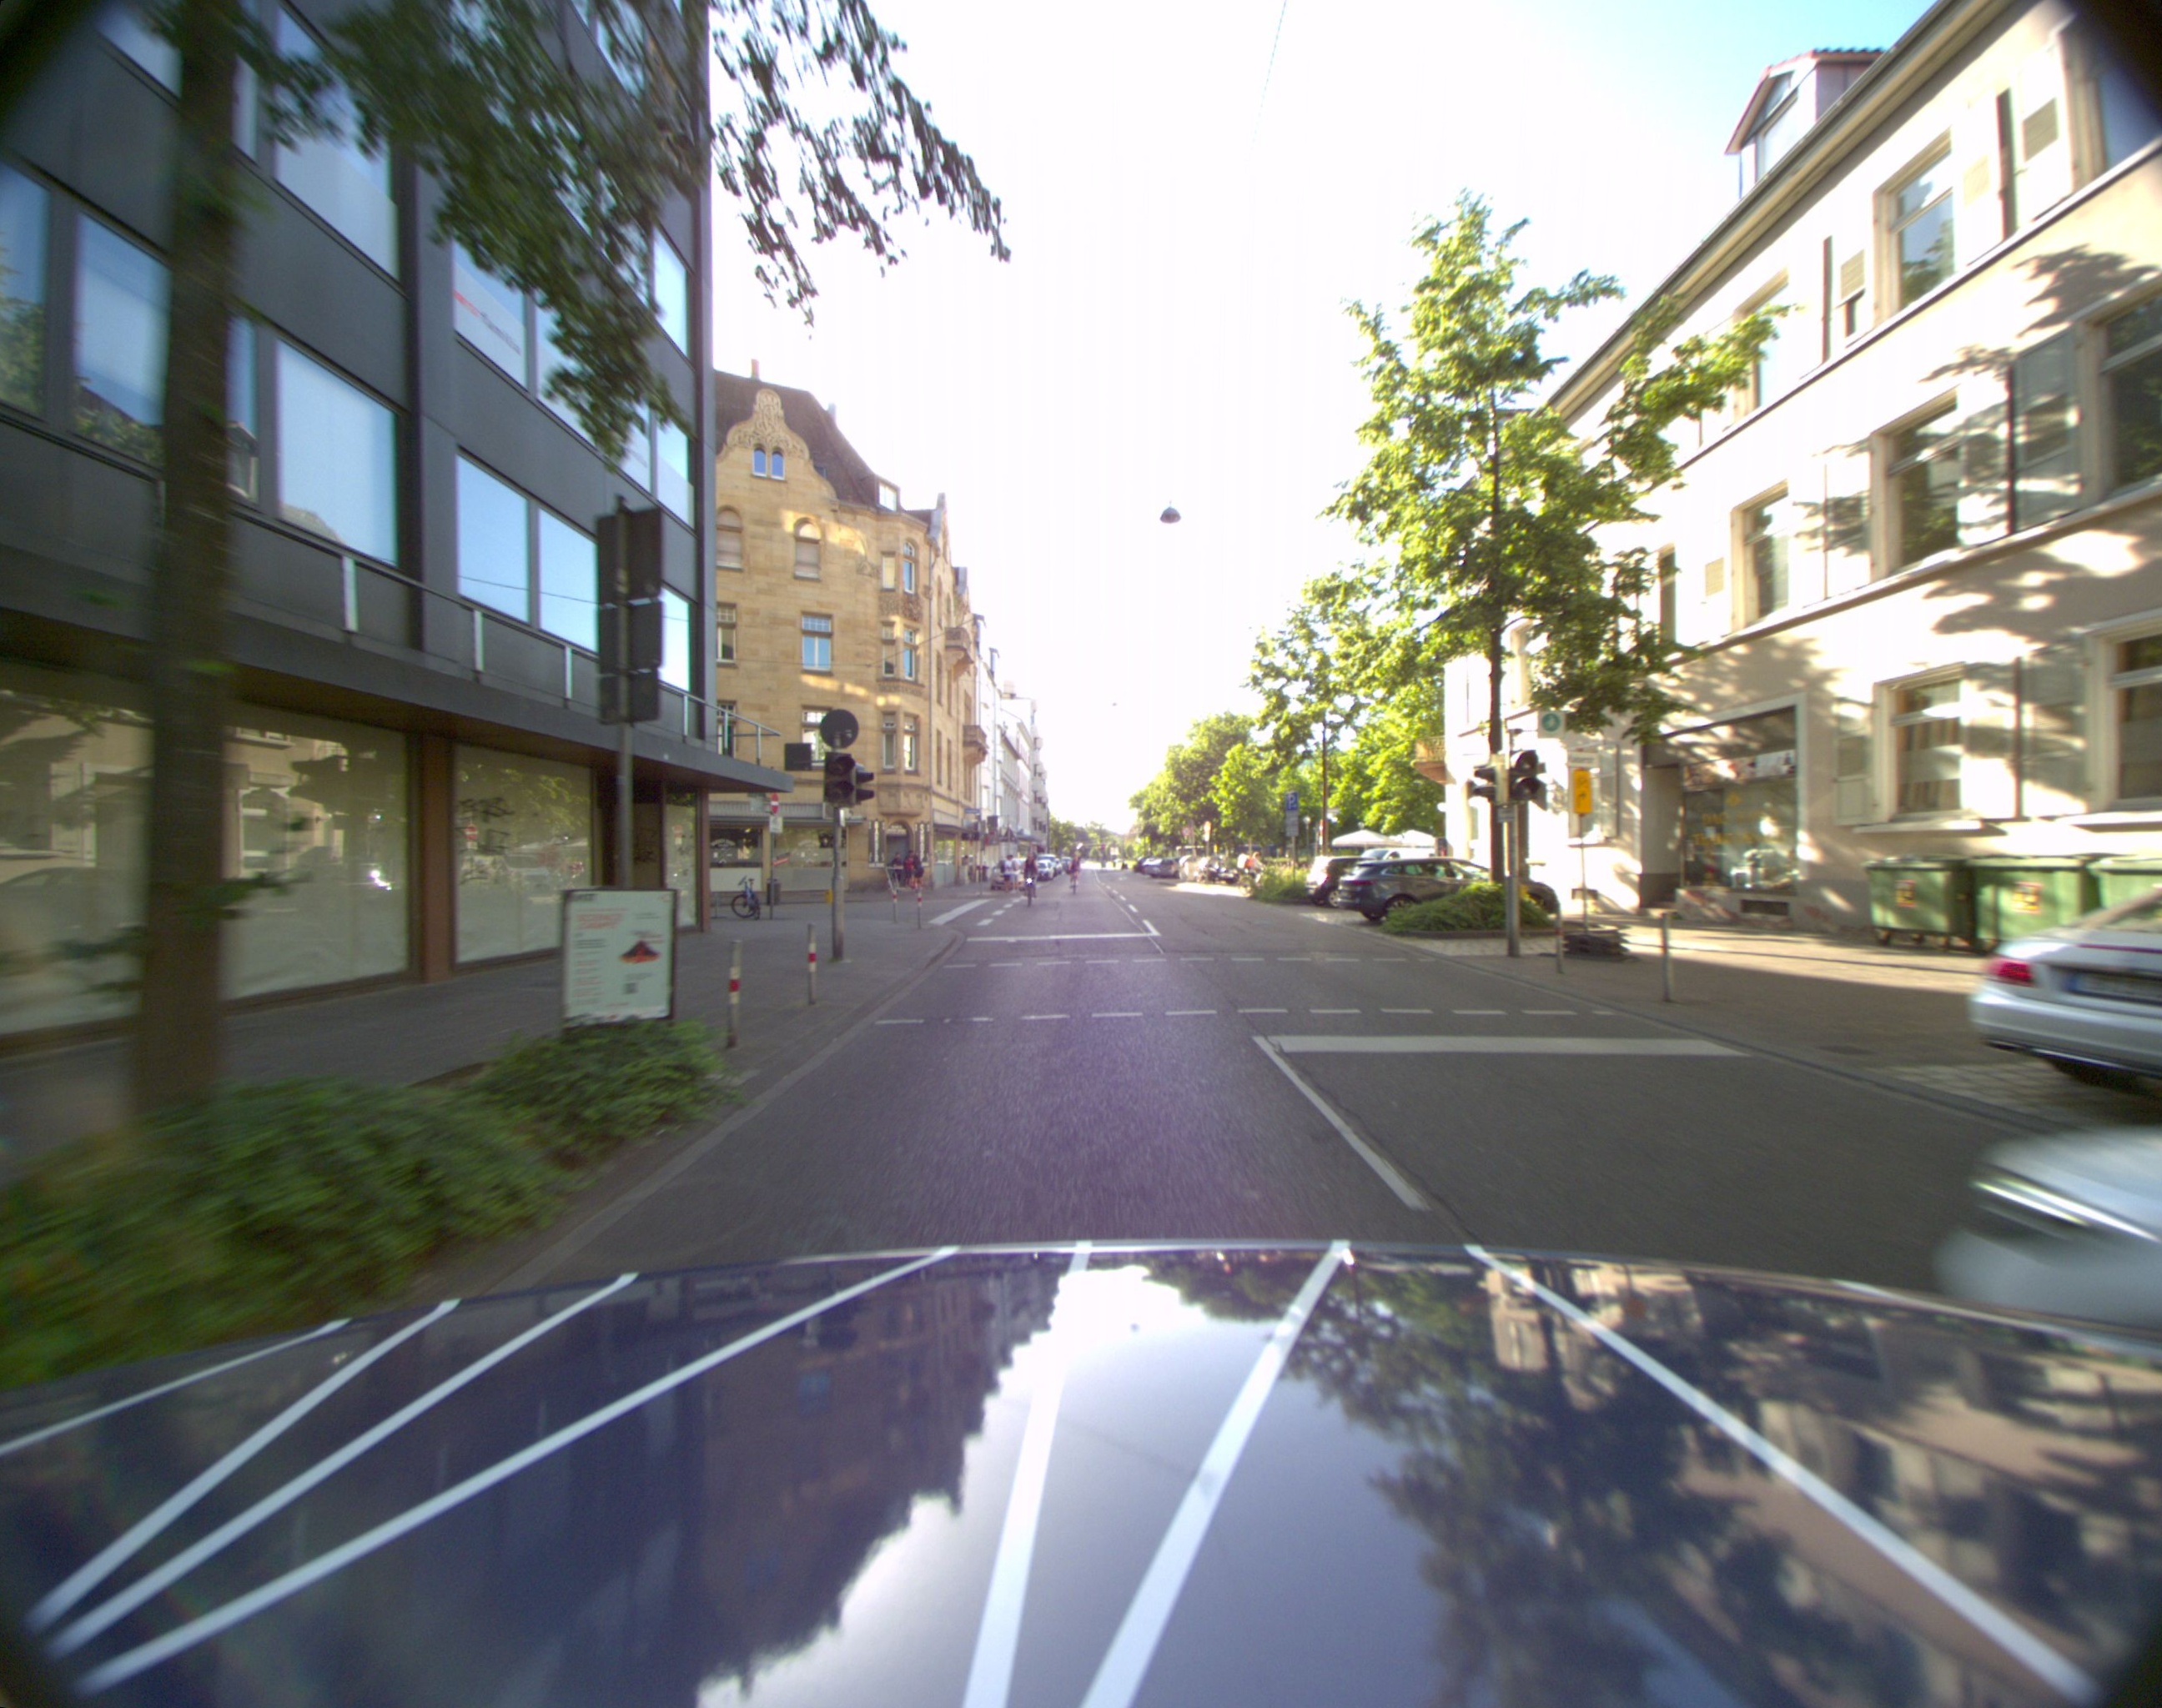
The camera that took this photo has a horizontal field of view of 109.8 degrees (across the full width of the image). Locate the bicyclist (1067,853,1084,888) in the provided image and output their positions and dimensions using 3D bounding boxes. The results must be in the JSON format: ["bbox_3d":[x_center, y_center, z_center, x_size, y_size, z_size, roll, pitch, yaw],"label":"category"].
[{"bbox_3d":[-0.259,0.733,34.126,0.718,1.553,0.863,-1,1,-2],"label":"bicyclist"}]

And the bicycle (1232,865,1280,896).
[{"bbox_3d":[7.069,1.056,30.683,1.947,1.151,0.667,-2,1,-33],"label":"bicycle"}]

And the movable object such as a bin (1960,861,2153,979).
[{"bbox_3d":[12.166,0.779,9.537,0.831,1.347,1.248,-2,0,4],"label":"movable object such as a bin"}]

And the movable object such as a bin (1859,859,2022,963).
[{"bbox_3d":[12.171,0.768,10.820,0.911,1.359,1.261,-2,0,4],"label":"movable object such as a bin"}]

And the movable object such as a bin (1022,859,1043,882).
[{"bbox_3d":[-3.107,1.037,48.724,1.147,1.413,1.411,2,1,5],"label":"movable object such as a bin"}]

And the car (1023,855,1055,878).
[{"bbox_3d":[-3.023,0.863,55.352,1.998,1.565,4.000,1,0,1],"label":"car"}]

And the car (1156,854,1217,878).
[{"bbox_3d":[7.728,0.875,55.760,4.006,1.553,1.995,-2,0,-31],"label":"car"}]

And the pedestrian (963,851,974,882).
[{"bbox_3d":[-6.407,0.718,43.409,0.536,1.732,0.598,-2,1,-4],"label":"pedestrian"}]

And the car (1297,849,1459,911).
[{"bbox_3d":[8.722,0.735,22.567,3.997,1.630,1.944,-2,0,-1],"label":"car"}]

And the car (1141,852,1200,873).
[{"bbox_3d":[6.838,0.623,57.983,4.006,1.433,1.995,-2,0,-31],"label":"car"}]

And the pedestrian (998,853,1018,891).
[{"bbox_3d":[-3.303,0.811,34.490,0.699,1.709,0.693,1,1,-22],"label":"pedestrian"}]

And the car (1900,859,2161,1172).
[{"bbox_3d":[7.821,0.776,4.176,4.713,1.483,1.999,-3,1,-4],"label":"car"}]

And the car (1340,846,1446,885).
[{"bbox_3d":[16.308,0.593,39.698,5.335,1.933,2.070,0,0,-25],"label":"car"}]

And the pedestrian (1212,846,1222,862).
[{"bbox_3d":[10.531,-0.027,58.910,0.521,1.250,0.525,-1,1,-33],"label":"pedestrian"}]

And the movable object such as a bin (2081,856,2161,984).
[{"bbox_3d":[12.100,0.714,8.212,0.819,1.354,1.346,-2,0,4],"label":"movable object such as a bin"}]

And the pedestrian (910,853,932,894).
[{"bbox_3d":[-6.706,0.806,31.831,0.617,1.682,0.676,2,3,44],"label":"pedestrian"}]

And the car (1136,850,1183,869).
[{"bbox_3d":[7.472,0.478,72.688,4.003,1.684,1.997,-2,0,-18],"label":"car"}]

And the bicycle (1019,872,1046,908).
[{"bbox_3d":[-1.549,1.133,24.504,0.666,1.061,1.836,-2,0,1],"label":"bicycle"}]

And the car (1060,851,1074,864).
[{"bbox_3d":[-2.240,0.596,121.984,1.998,2.002,4.000,-2,0,1],"label":"car"}]

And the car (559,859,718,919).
[{"bbox_3d":[-14.605,1.100,25.389,4.322,1.761,1.996,-2,0,-24],"label":"car"}]

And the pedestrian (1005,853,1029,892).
[{"bbox_3d":[-2.845,0.832,34.046,0.693,1.709,0.897,1,1,25],"label":"pedestrian"}]

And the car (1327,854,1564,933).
[{"bbox_3d":[7.967,0.841,16.955,4.349,1.535,1.945,-2,0,3],"label":"car"}]

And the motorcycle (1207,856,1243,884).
[{"bbox_3d":[7.793,0.865,41.116,1.750,1.415,0.831,-1,1,27],"label":"motorcycle"}]

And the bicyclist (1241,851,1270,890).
[{"bbox_3d":[7.063,0.667,30.682,0.891,1.516,0.667,-2,1,-33],"label":"bicyclist"}]

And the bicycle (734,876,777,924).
[{"bbox_3d":[-8.374,1.150,19.524,0.574,1.154,1.740,-1,-1,-38],"label":"bicycle"}]

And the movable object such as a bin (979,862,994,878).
[{"bbox_3d":[-6.102,1.038,49.138,0.725,1.042,0.664,2,-1,11],"label":"movable object such as a bin"}]

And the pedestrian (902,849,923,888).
[{"bbox_3d":[-7.441,0.632,33.627,0.498,1.683,0.717,-1,1,28],"label":"pedestrian"}]

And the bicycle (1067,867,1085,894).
[{"bbox_3d":[-0.244,1.159,34.113,0.718,1.105,2.268,-1,0,-2],"label":"bicycle"}]

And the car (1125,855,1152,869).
[{"bbox_3d":[6.008,0.814,79.046,1.771,1.421,4.006,-2,0,20],"label":"car"}]

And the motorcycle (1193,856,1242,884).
[{"bbox_3d":[7.219,0.827,40.258,2.316,1.415,1.002,-1,0,28],"label":"motorcycle"}]

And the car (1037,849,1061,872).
[{"bbox_3d":[-2.863,0.586,68.847,1.999,1.942,5.100,1,0,-1],"label":"car"}]

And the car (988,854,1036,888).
[{"bbox_3d":[-3.420,0.814,38.342,1.978,1.565,4.126,1,0,1],"label":"car"}]

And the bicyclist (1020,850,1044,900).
[{"bbox_3d":[-1.562,0.673,24.428,0.658,1.562,0.909,-2,1,1],"label":"bicyclist"}]

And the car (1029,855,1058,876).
[{"bbox_3d":[-2.875,0.876,59.487,1.998,1.482,4.000,1,0,1],"label":"car"}]

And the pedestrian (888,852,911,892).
[{"bbox_3d":[-7.784,0.755,32.596,0.618,1.683,0.717,-1,1,28],"label":"pedestrian"}]

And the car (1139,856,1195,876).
[{"bbox_3d":[6.917,0.960,61.134,4.005,1.465,1.996,-2,0,-25],"label":"car"}]

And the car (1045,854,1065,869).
[{"bbox_3d":[-2.679,0.728,78.819,1.999,1.444,3.955,1,0,0],"label":"car"}]
